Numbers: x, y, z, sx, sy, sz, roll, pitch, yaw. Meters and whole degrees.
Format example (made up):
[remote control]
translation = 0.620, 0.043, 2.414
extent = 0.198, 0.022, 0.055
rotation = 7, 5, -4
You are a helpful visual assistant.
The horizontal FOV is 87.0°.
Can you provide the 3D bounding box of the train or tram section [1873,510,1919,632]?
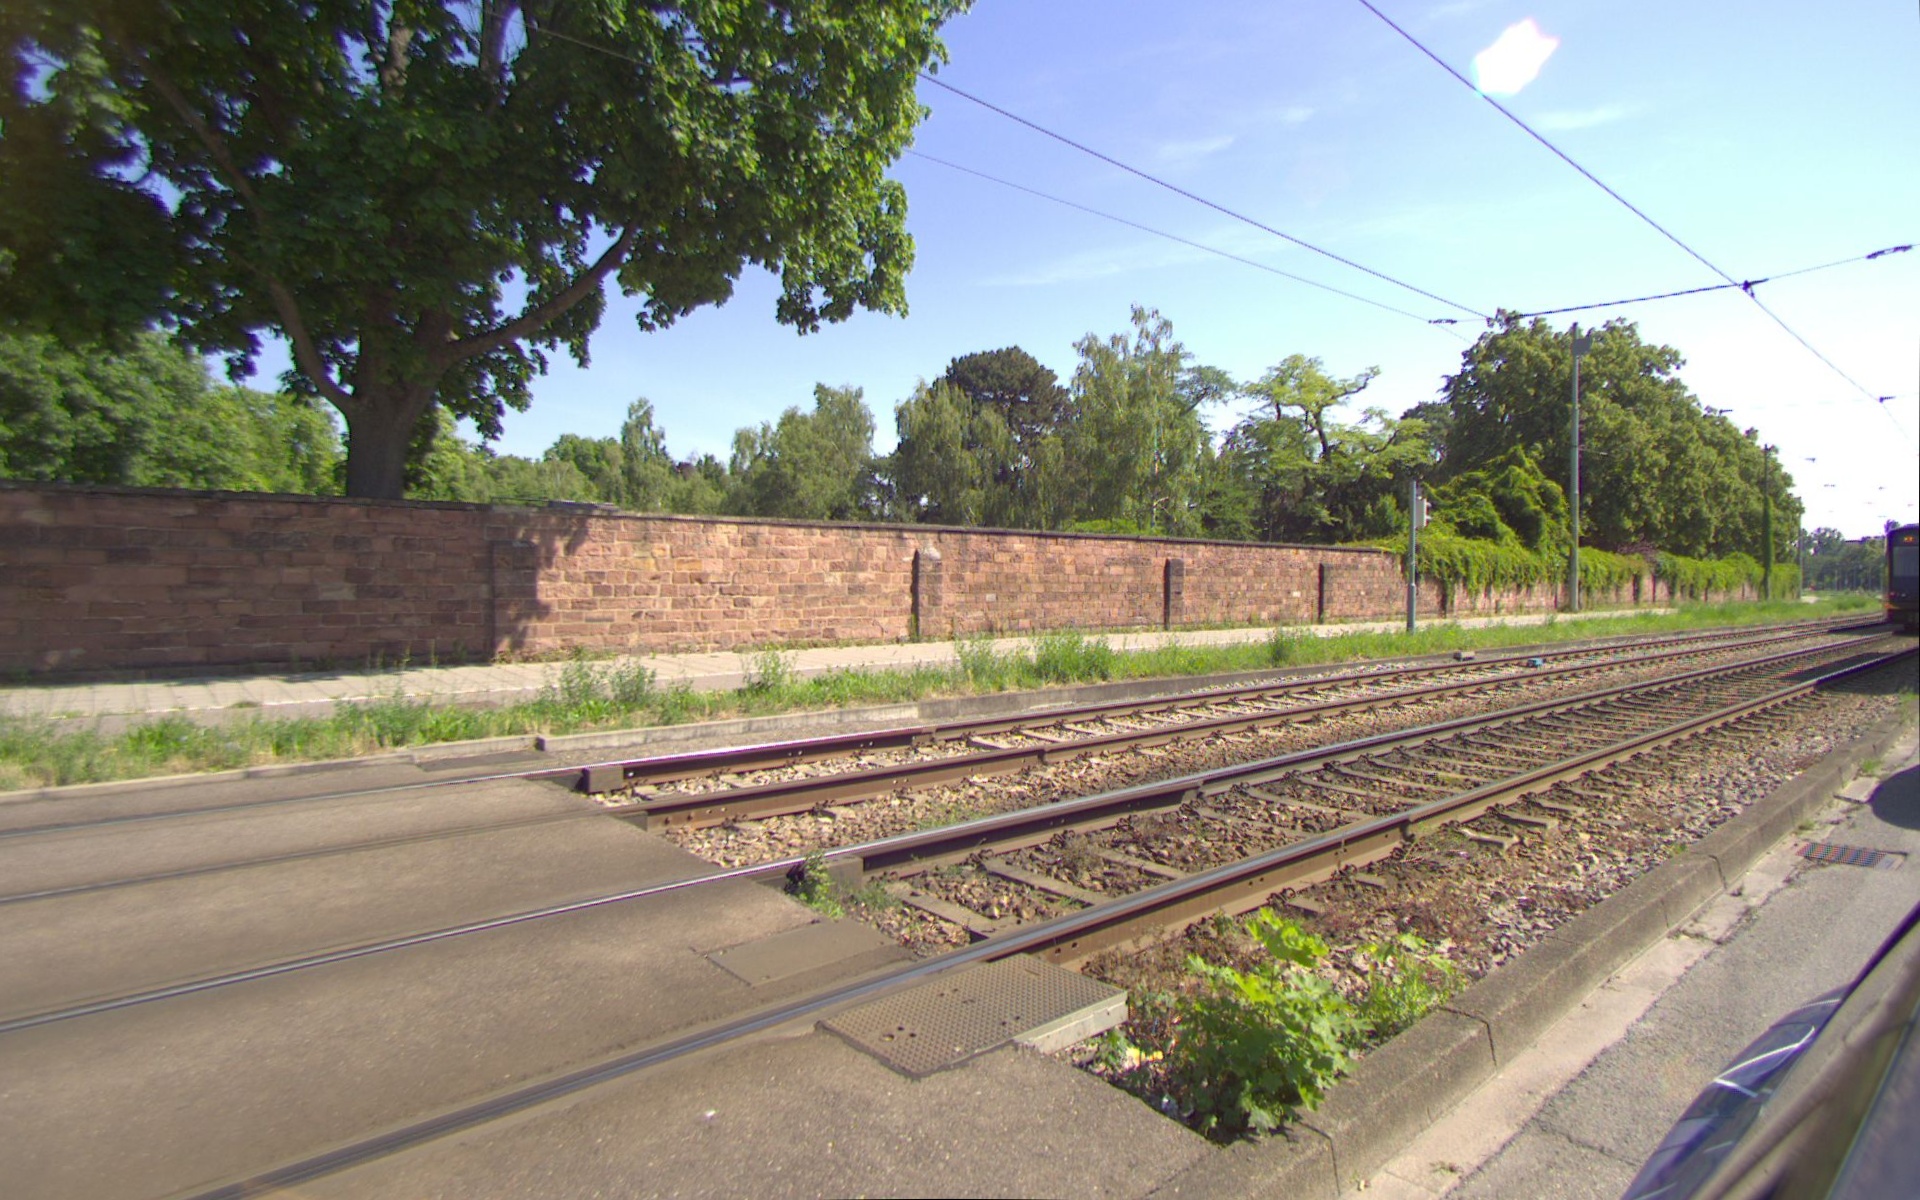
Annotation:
[train or tram section]
translation = 34.876, -1.033, 35.328
extent = 15.041, 3.698, 2.674
rotation = -2, 0, -41
